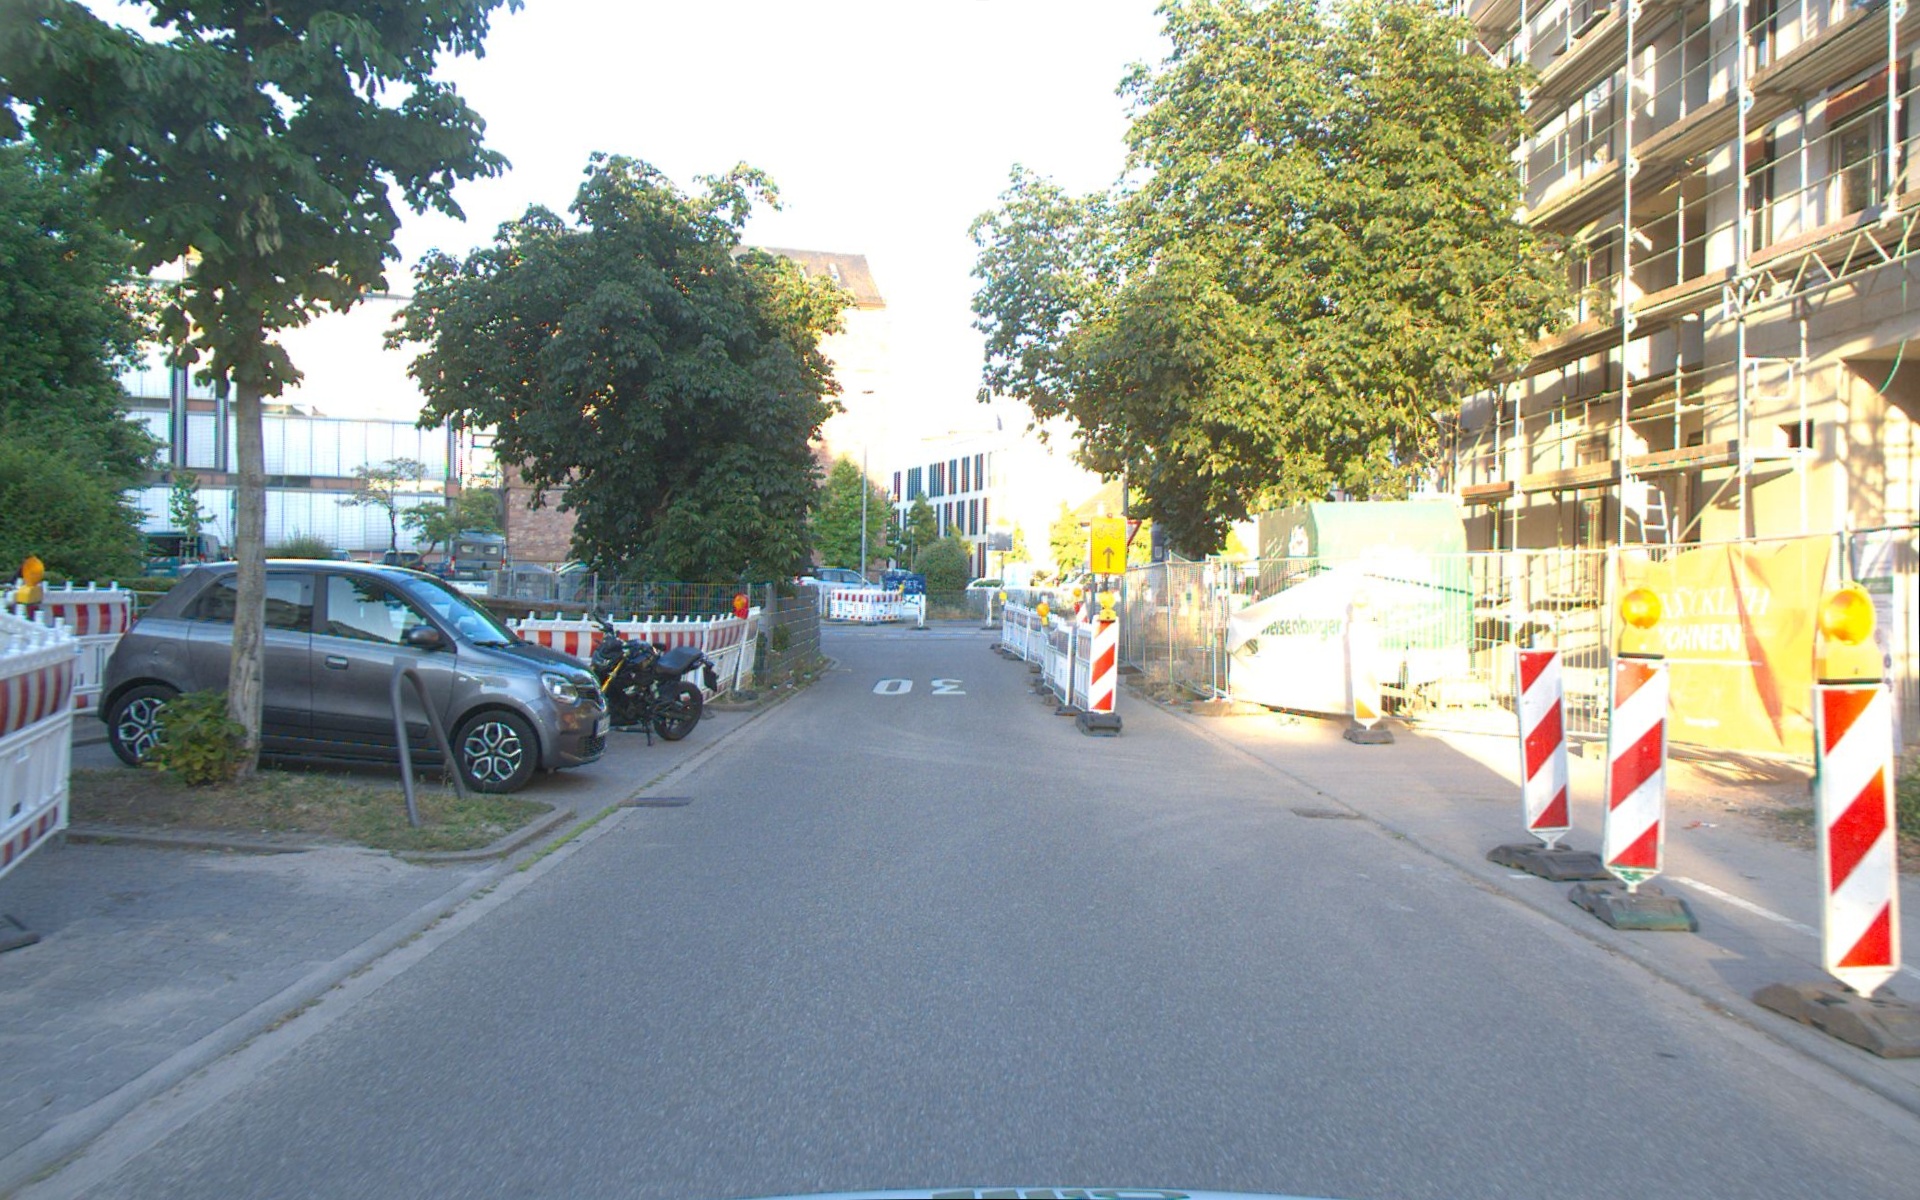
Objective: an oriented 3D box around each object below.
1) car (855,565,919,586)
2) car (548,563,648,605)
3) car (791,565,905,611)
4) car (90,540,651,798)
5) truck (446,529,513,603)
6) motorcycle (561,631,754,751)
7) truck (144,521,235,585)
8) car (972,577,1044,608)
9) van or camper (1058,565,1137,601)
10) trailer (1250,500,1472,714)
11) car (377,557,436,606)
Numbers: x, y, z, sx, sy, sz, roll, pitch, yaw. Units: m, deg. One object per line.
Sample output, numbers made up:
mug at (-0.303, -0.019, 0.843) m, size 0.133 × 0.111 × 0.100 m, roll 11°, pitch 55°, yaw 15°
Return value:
car at (-4.897, -1.634, 110.858) m, size 3.927 × 1.336 × 1.867 m, roll 1°, pitch 0°, yaw -20°
car at (-13.681, -0.596, 62.461) m, size 3.573 × 1.530 × 1.630 m, roll 0°, pitch 1°, yaw -17°
car at (-4.429, -0.465, 65.282) m, size 4.205 × 1.738 × 1.693 m, roll 0°, pitch 1°, yaw -20°
car at (-4.322, 0.486, 12.539) m, size 3.550 × 1.584 × 1.693 m, roll 4°, pitch 0°, yaw -1°
truck at (-18.208, -1.286, 62.571) m, size 2.297 × 2.662 × 4.949 m, roll 1°, pitch 1°, yaw -17°
motorcycle at (-2.874, 0.848, 15.982) m, size 0.527 × 1.038 × 2.208 m, roll 4°, pitch 0°, yaw 28°
truck at (-27.009, -1.613, 58.128) m, size 2.070 × 2.127 × 4.495 m, roll 1°, pitch 1°, yaw -15°
car at (2.700, -0.416, 92.674) m, size 3.688 × 1.631 × 1.676 m, roll 1°, pitch 0°, yaw -22°
van or camper at (9.013, -1.108, 108.202) m, size 4.893 × 2.279 × 1.676 m, roll 1°, pitch 0°, yaw -22°
trailer at (5.246, 0.058, 22.240) m, size 1.953 × 2.584 × 4.186 m, roll 1°, pitch 1°, yaw 0°
car at (-20.653, -0.708, 61.607) m, size 1.964 × 1.722 × 3.977 m, roll 1°, pitch 1°, yaw -20°
